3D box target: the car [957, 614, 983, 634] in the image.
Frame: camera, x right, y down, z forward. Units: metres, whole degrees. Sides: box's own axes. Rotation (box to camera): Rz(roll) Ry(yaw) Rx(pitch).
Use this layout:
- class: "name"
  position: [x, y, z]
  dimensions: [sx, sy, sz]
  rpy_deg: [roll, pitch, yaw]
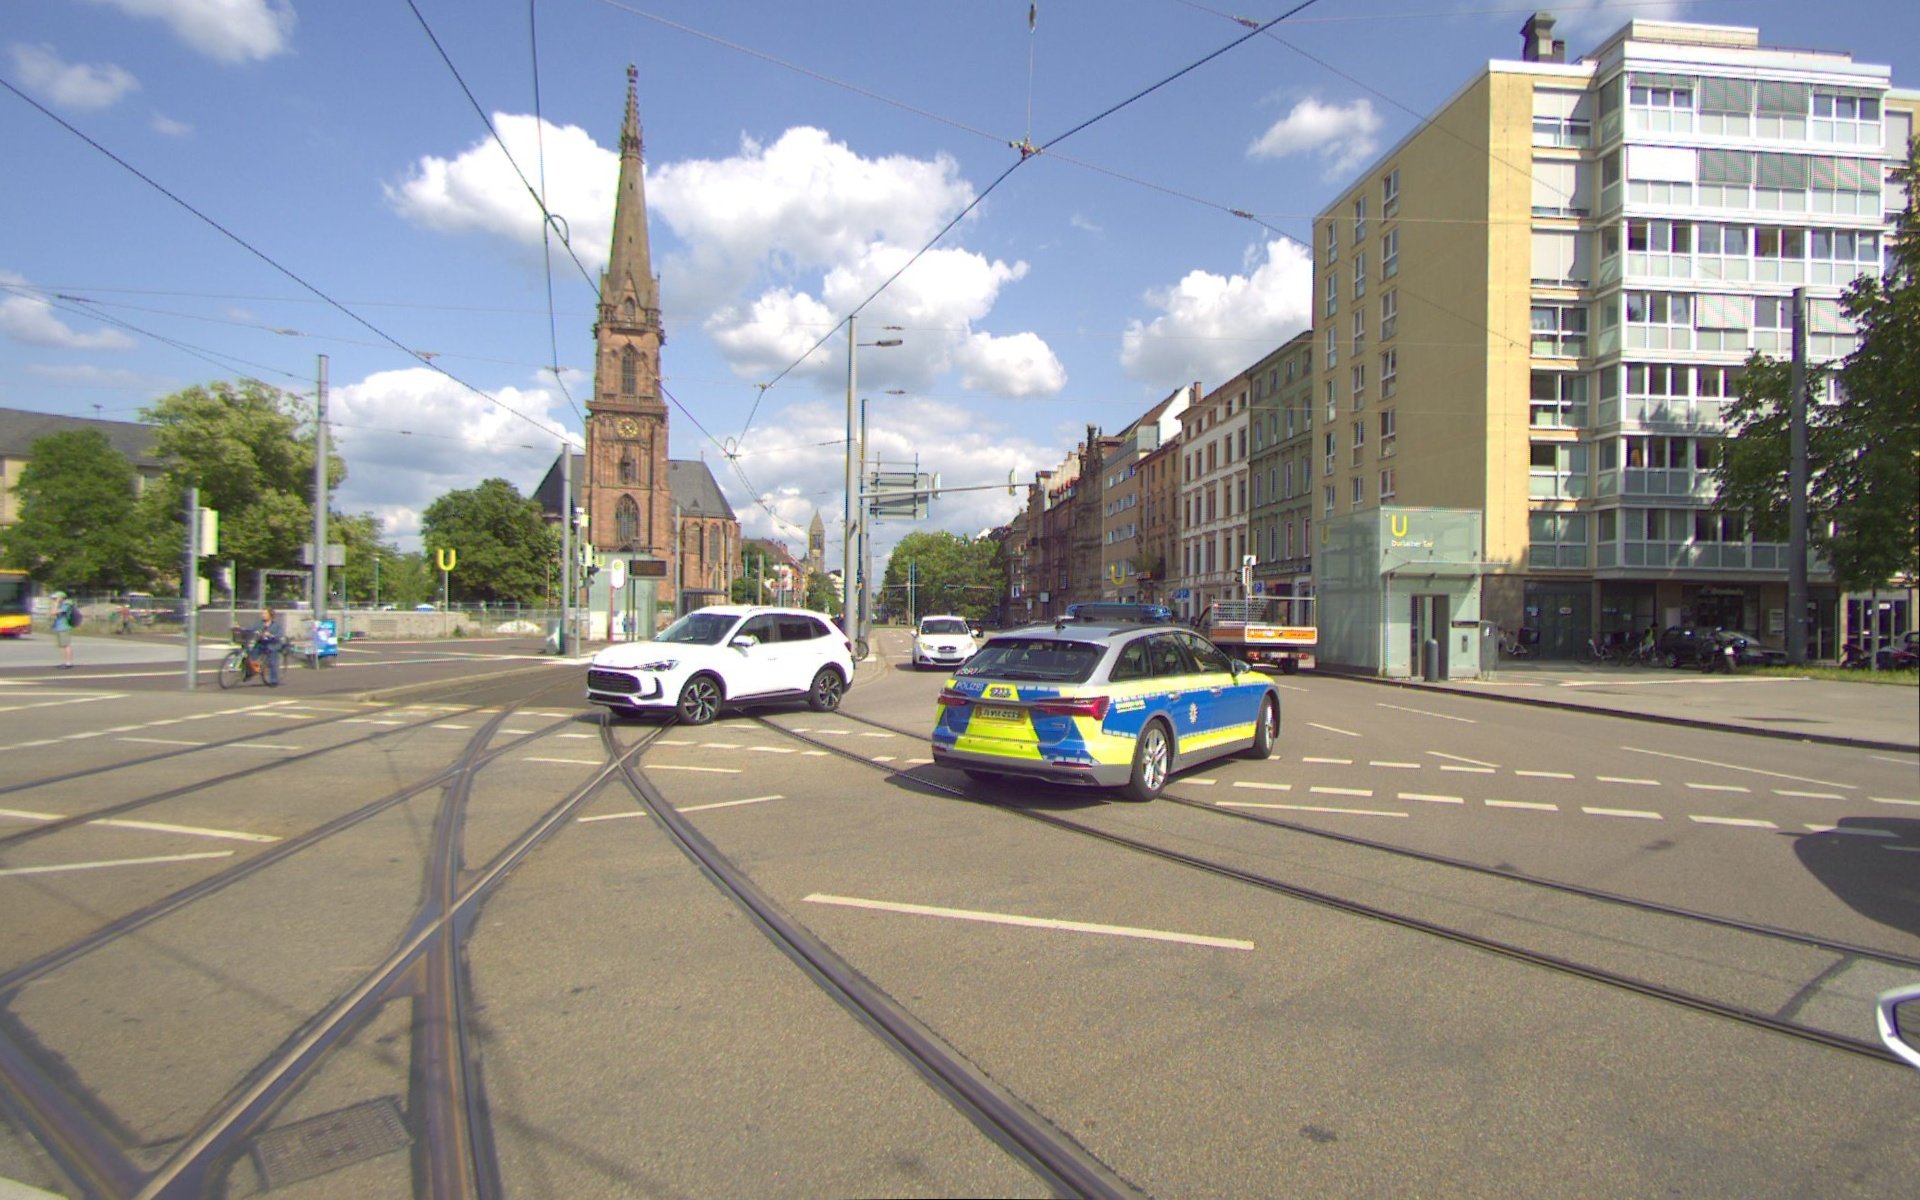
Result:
- class: "car"
  position: [0.778, 1.856, 78.477]
  dimensions: [1.709, 1.395, 3.998]
  rpy_deg: [1, 0, -4]

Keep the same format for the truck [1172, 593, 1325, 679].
- class: "truck"
  position: [8.063, 0.991, 28.846]
  dimensions: [2.302, 2.184, 5.848]
  rpy_deg: [1, -1, -5]

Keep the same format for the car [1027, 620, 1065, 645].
- class: "car"
  position: [5.375, 2.011, 63.259]
  dimensions: [1.709, 1.395, 3.997]
  rpy_deg: [1, 0, -4]

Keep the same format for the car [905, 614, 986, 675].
- class: "car"
  position: [-0.475, 1.187, 27.937]
  dimensions: [1.962, 1.548, 4.091]
  rpy_deg: [1, -1, -5]

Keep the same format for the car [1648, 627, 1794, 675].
- class: "car"
  position: [25.986, 1.711, 34.472]
  dimensions: [1.642, 1.416, 3.995]
  rpy_deg: [2, -1, -8]

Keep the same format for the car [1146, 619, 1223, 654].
- class: "car"
  position: [10.475, 1.712, 46.724]
  dimensions: [1.872, 1.516, 3.880]
  rpy_deg: [1, -1, 41]

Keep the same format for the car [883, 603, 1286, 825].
- class: "car"
  position: [1.460, 0.871, 9.650]
  dimensions: [1.856, 1.589, 4.599]
  rpy_deg: [0, -1, 36]

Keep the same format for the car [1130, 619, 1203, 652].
- class: "car"
  position: [10.335, 1.772, 50.201]
  dimensions: [1.872, 1.516, 3.880]
  rpy_deg: [1, -1, 41]

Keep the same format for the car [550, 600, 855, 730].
- class: "car"
  position: [-3.699, 0.882, 15.196]
  dimensions: [2.008, 1.661, 4.277]
  rpy_deg: [0, -1, 32]

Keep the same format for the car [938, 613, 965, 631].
- class: "car"
  position: [-0.835, 2.042, 93.409]
  dimensions: [2.008, 1.599, 4.534]
  rpy_deg: [1, 0, -7]

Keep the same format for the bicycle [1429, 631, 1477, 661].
- class: "bicycle"
  position: [19.673, 1.817, 40.115]
  dimensions: [0.782, 1.118, 1.806]
  rpy_deg: [1, 0, -11]

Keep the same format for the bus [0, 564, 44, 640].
- class: "bus"
  position: [-45.111, 0.088, 45.916]
  dimensions: [12.641, 3.178, 2.822]
  rpy_deg: [0, -1, 39]

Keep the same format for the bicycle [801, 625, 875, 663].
- class: "bicycle"
  position: [-3.929, 1.397, 32.279]
  dimensions: [2.316, 1.153, 0.888]
  rpy_deg: [1, 1, -11]

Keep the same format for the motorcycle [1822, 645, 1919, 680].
- class: "motorcycle"
  position: [25.739, 1.751, 28.412]
  dimensions: [0.806, 0.929, 2.017]
  rpy_deg: [1, -2, -45]

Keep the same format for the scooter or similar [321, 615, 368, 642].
- class: "scooter or similar"
  position: [-27.603, 1.268, 45.060]
  dimensions: [0.840, 1.120, 1.637]
  rpy_deg: [2, 1, 41]

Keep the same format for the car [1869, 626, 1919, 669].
- class: "car"
  position: [35.690, 1.749, 36.338]
  dimensions: [1.769, 1.515, 3.996]
  rpy_deg: [1, -1, -7]

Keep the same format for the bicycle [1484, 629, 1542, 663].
- class: "bicycle"
  position: [21.369, 1.771, 38.859]
  dimensions: [1.773, 1.275, 0.797]
  rpy_deg: [1, 0, 4]

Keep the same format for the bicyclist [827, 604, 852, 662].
- class: "bicyclist"
  position: [-3.877, 1.062, 32.271]
  dimensions: [0.697, 1.821, 0.778]
  rpy_deg: [1, 1, -11]

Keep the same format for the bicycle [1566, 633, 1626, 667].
- class: "bicycle"
  position: [22.599, 1.764, 35.743]
  dimensions: [0.782, 1.162, 1.806]
  rpy_deg: [1, 0, -10]

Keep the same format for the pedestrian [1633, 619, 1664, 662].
- class: "pedestrian"
  position: [27.044, 1.590, 39.463]
  dimensions: [0.844, 1.629, 0.831]
  rpy_deg: [2, 1, 26]

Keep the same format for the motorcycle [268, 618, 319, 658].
- class: "motorcycle"
  position: [-21.333, 1.210, 32.174]
  dimensions: [0.474, 1.253, 1.448]
  rpy_deg: [1, -1, 10]

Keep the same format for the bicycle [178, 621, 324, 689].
- class: "bicycle"
  position: [-13.426, 1.014, 19.134]
  dimensions: [0.975, 1.204, 2.302]
  rpy_deg: [1, -1, 5]

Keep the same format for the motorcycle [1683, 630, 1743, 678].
- class: "motorcycle"
  position: [20.880, 1.477, 27.910]
  dimensions: [0.889, 1.254, 2.217]
  rpy_deg: [-1, -1, 25]

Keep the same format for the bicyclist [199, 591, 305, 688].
- class: "bicyclist"
  position: [-13.434, 0.748, 19.099]
  dimensions: [0.975, 1.754, 1.302]
  rpy_deg: [1, -1, 5]

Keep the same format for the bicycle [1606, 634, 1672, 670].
- class: "bicycle"
  position: [23.828, 1.810, 35.310]
  dimensions: [0.782, 1.162, 1.946]
  rpy_deg: [1, 0, -10]

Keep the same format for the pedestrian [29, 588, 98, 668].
- class: "pedestrian"
  position: [-21.037, 0.639, 23.582]
  dimensions: [1.007, 1.822, 0.768]
  rpy_deg: [1, 1, 12]

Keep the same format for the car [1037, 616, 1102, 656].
- class: "car"
  position: [4.248, 1.382, 39.555]
  dimensions: [1.819, 1.494, 3.997]
  rpy_deg: [1, -1, -5]
